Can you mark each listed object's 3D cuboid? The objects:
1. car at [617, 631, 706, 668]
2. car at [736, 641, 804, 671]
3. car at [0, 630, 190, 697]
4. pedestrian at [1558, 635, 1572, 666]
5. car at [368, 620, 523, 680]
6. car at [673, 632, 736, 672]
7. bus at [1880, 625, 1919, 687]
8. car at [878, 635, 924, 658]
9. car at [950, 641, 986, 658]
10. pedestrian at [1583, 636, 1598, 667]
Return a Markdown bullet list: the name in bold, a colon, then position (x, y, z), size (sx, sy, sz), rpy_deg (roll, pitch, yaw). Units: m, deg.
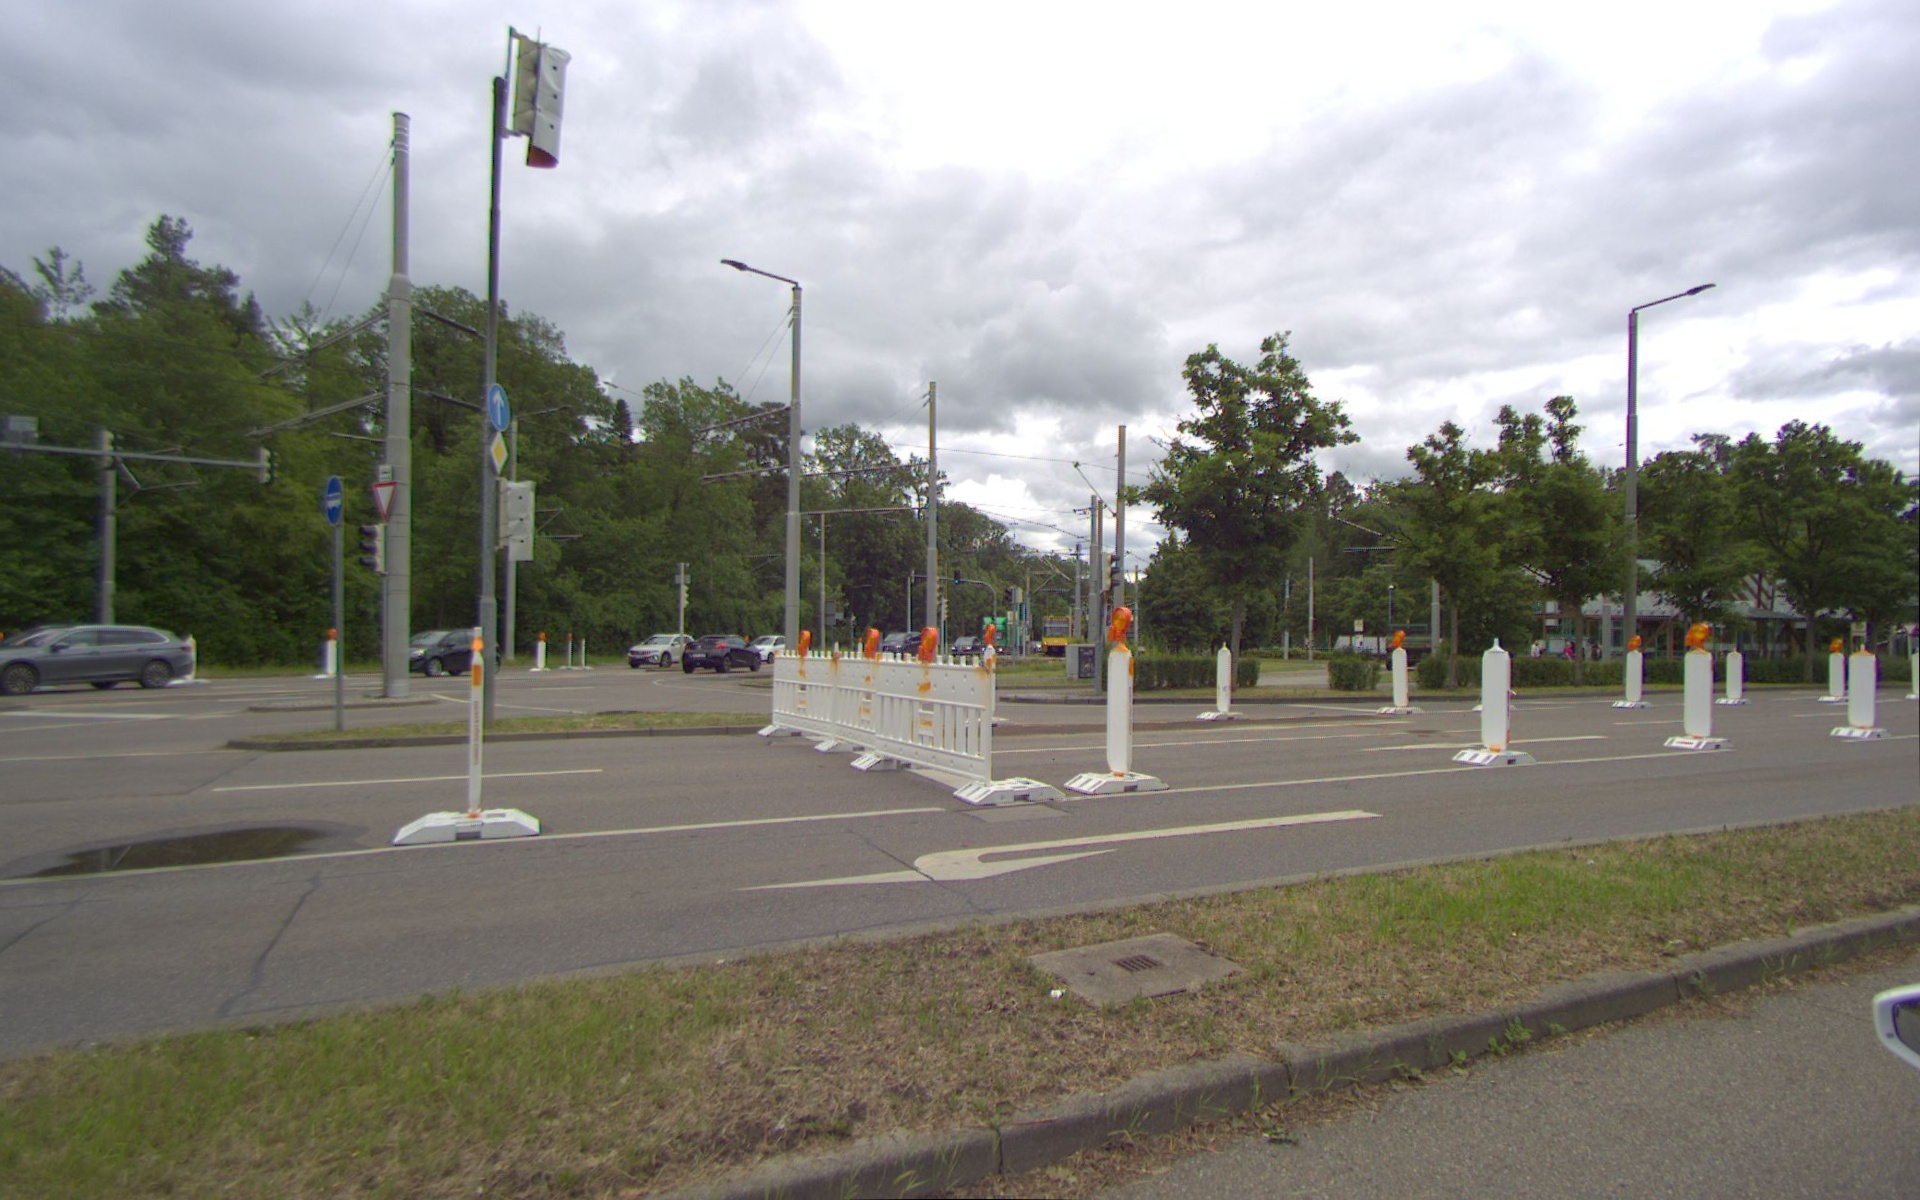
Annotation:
- **car**: position (-13.819, 2.262, 46.828), size (1.929, 1.628, 4.312), rpy_deg (0, -2, 16)
- **car**: position (-10.551, 3.063, 55.982), size (1.929, 1.561, 4.398), rpy_deg (0, -2, 16)
- **car**: position (-20.264, 1.356, 22.366), size (1.929, 1.379, 4.692), rpy_deg (0, -2, 16)
- **pedestrian**: position (32.708, 2.734, 54.288), size (0.482, 1.647, 0.562), rpy_deg (0, -1, 7)
- **car**: position (-17.219, 1.633, 33.897), size (1.929, 1.869, 4.692), rpy_deg (0, -2, 16)
- **car**: position (-9.226, 1.853, 36.157), size (1.754, 1.379, 3.459), rpy_deg (1, -3, -22)
- **bus**: position (60.905, 3.466, 63.820), size (2.788, 3.651, 12.746), rpy_deg (-1, -2, 39)
- **car**: position (-4.119, 3.274, 71.358), size (1.929, 1.560, 4.312), rpy_deg (0, -2, 16)
- **car**: position (0.722, 4.189, 85.423), size (1.929, 1.379, 4.312), rpy_deg (0, -2, 16)
- **pedestrian**: position (33.955, 2.752, 54.102), size (0.482, 1.647, 0.562), rpy_deg (0, -1, 7)
